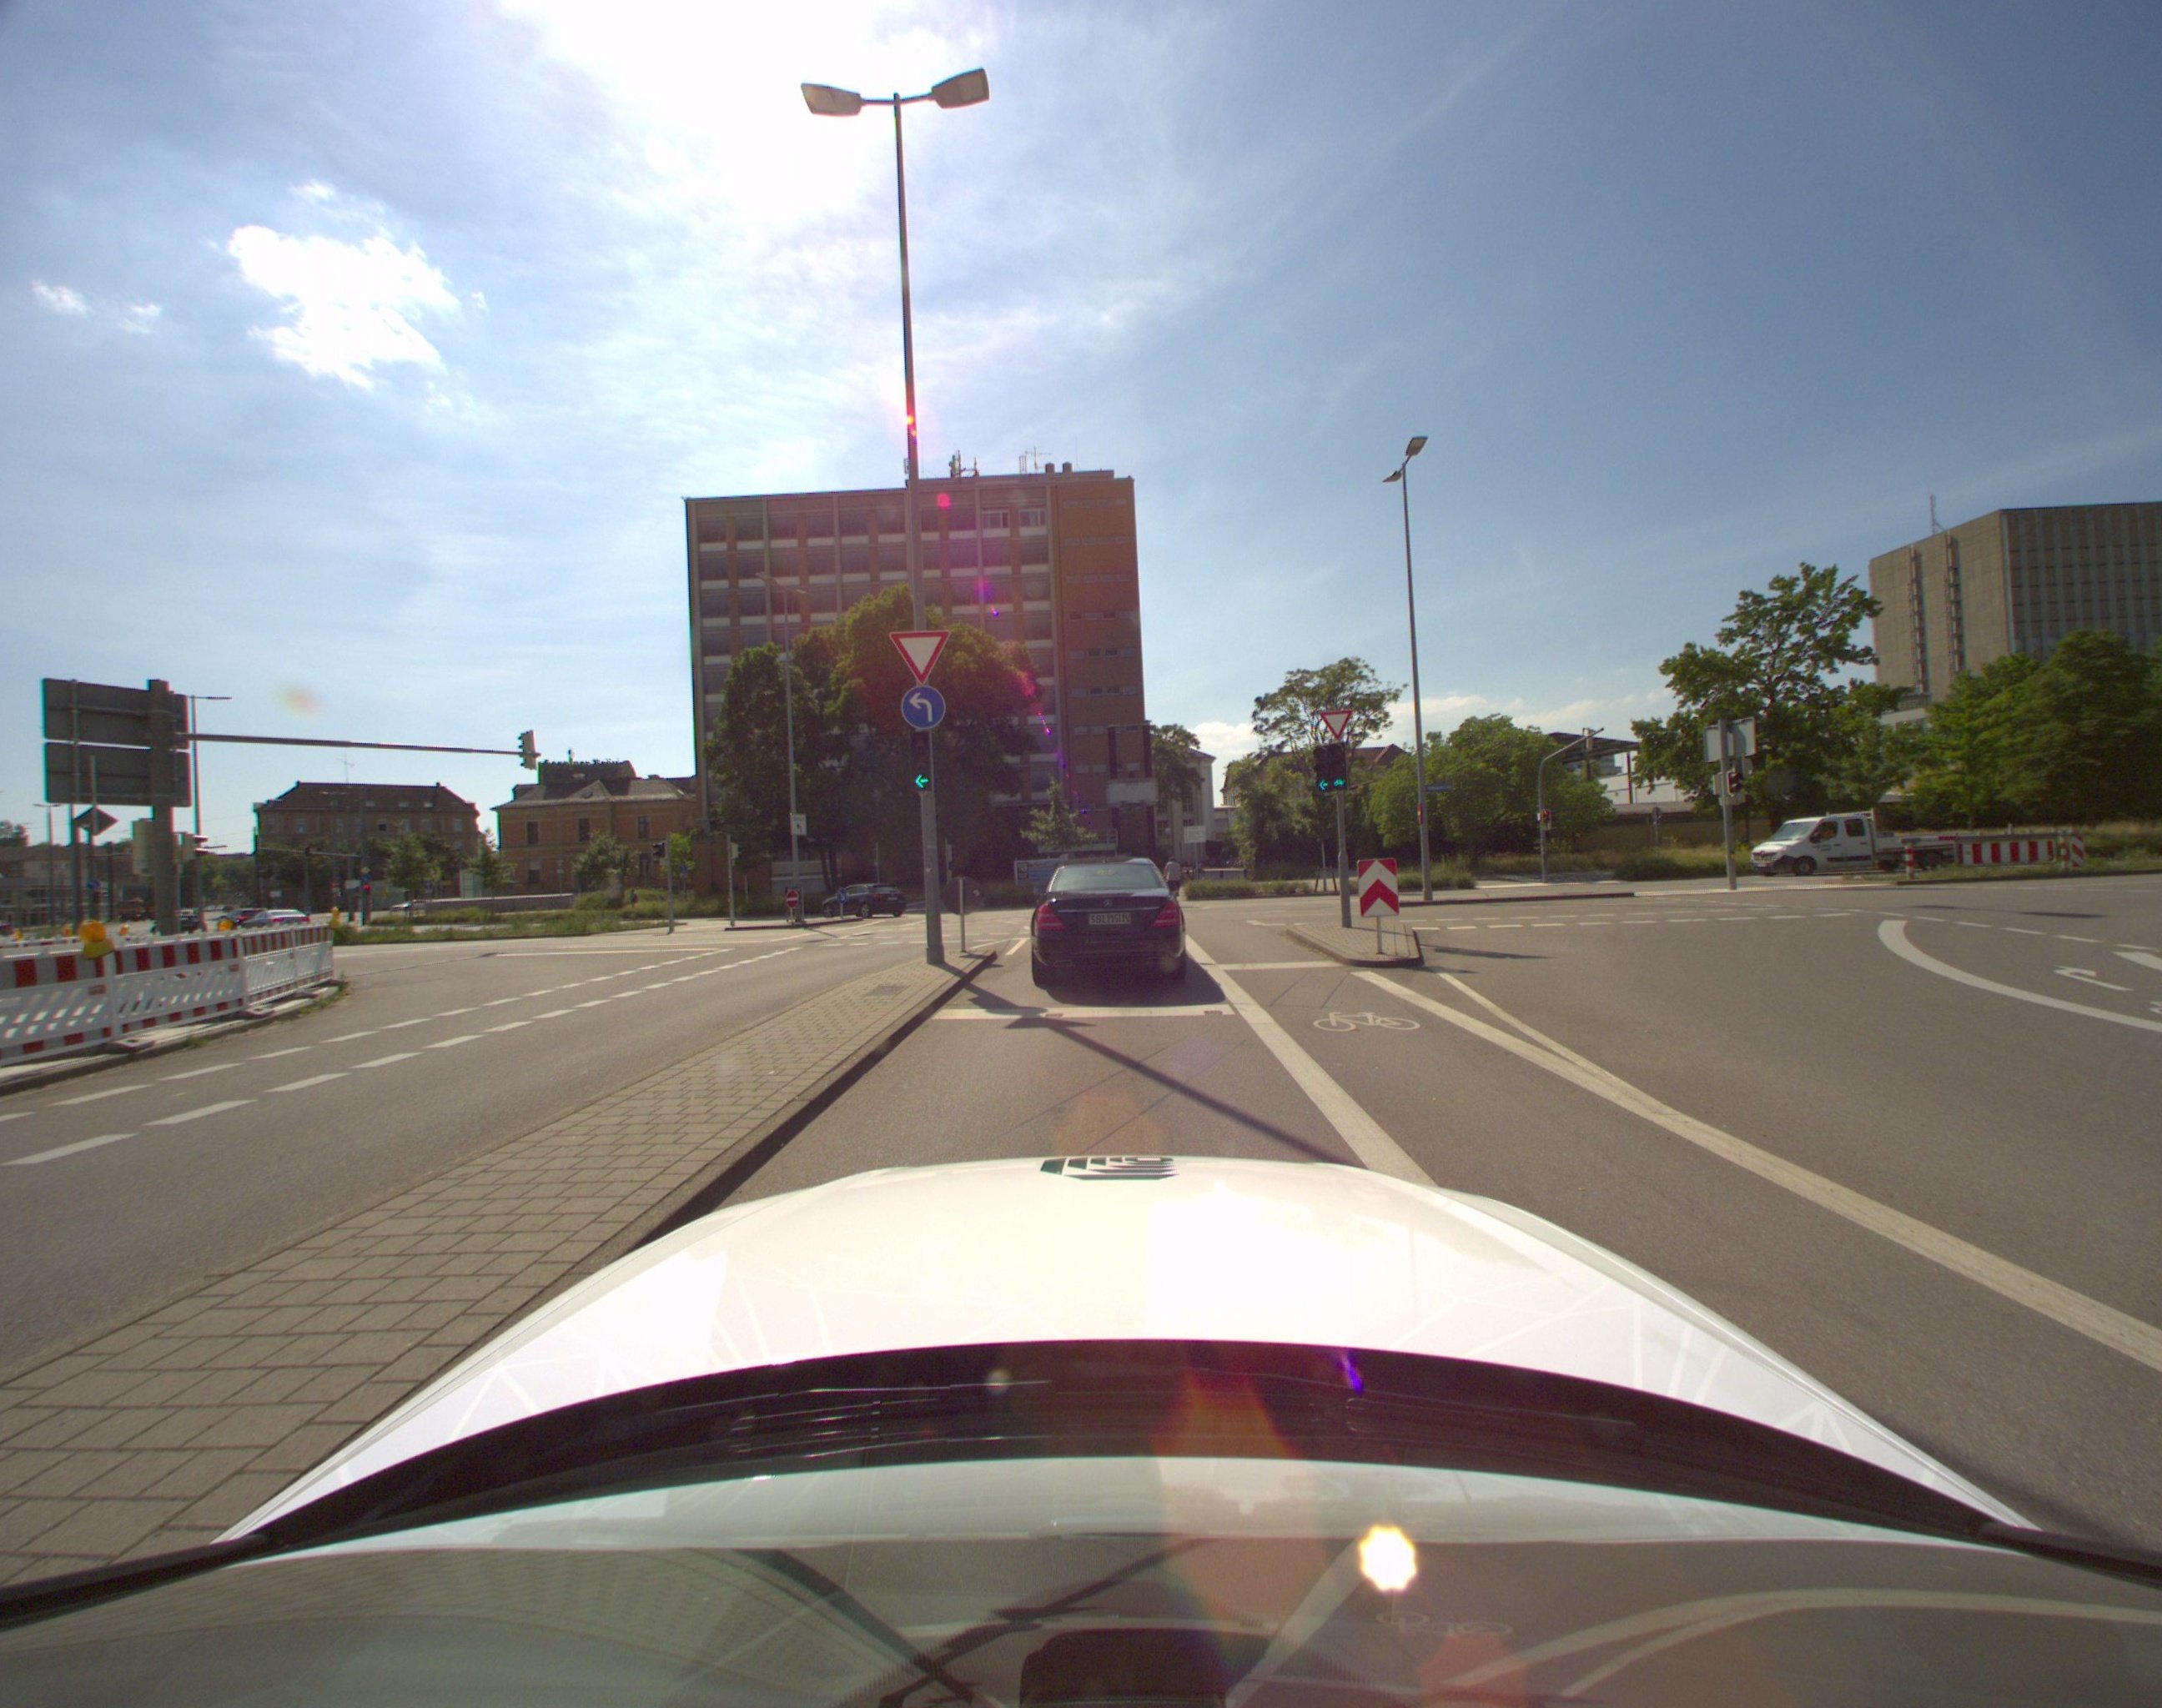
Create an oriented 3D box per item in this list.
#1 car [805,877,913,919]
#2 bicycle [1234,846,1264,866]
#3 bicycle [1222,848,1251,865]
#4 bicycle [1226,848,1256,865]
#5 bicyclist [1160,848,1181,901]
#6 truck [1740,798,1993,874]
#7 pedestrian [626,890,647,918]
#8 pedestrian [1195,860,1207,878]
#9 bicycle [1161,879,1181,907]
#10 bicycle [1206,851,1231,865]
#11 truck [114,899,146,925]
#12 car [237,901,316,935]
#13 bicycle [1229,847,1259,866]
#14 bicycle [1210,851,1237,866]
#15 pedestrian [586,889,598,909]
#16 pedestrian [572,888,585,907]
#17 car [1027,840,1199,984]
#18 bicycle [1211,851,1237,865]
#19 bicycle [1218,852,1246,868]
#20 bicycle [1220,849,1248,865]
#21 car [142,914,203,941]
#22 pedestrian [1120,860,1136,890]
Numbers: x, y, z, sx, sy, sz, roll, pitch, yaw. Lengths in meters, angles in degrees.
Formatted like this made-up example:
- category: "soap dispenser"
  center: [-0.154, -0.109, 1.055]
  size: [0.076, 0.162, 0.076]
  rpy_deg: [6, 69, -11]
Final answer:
- category: "car"
  center: [-9.103, 1.814, 33.449]
  size: [3.951, 1.510, 1.810]
  rpy_deg: [-4, -2, 23]
- category: "bicycle"
  center: [16.765, 0.218, 81.367]
  size: [2.813, 1.836, 0.842]
  rpy_deg: [-3, -1, 1]
- category: "bicycle"
  center: [16.480, 0.284, 86.168]
  size: [2.813, 1.659, 0.842]
  rpy_deg: [-3, 1, 1]
- category: "bicycle"
  center: [16.627, 0.257, 84.720]
  size: [2.813, 1.649, 0.842]
  rpy_deg: [-3, -1, 1]
- category: "bicyclist"
  center: [3.287, 0.746, 30.008]
  size: [0.682, 1.878, 0.861]
  rpy_deg: [-1, -1, 5]
- category: "truck"
  center: [29.624, -0.635, 30.944]
  size: [6.997, 2.356, 2.414]
  rpy_deg: [-3, -2, 2]
- category: "pedestrian"
  center: [-29.247, 3.297, 53.580]
  size: [0.790, 1.725, 0.878]
  rpy_deg: [-4, -2, 24]
- category: "pedestrian"
  center: [7.926, 0.984, 53.895]
  size: [0.788, 1.214, 0.759]
  rpy_deg: [-1, -1, 8]
- category: "bicycle"
  center: [3.297, 1.401, 29.908]
  size: [0.689, 0.946, 1.961]
  rpy_deg: [-1, -1, 5]
- category: "bicycle"
  center: [16.261, 0.456, 96.304]
  size: [2.813, 1.480, 0.842]
  rpy_deg: [-3, -1, 1]
- category: "truck"
  center: [-148.594, 9.128, 127.345]
  size: [7.827, 3.730, 3.093]
  rpy_deg: [-4, -2, 41]
- category: "car"
  center: [-48.156, 3.822, 48.728]
  size: [3.951, 1.816, 2.011]
  rpy_deg: [-3, -1, 24]
- category: "bicycle"
  center: [16.708, 0.268, 83.629]
  size: [2.813, 1.744, 0.842]
  rpy_deg: [-3, -1, 1]
- category: "bicycle"
  center: [16.170, 0.509, 92.222]
  size: [2.813, 1.559, 0.842]
  rpy_deg: [-3, -1, 1]
- category: "pedestrian"
  center: [-41.396, 3.767, 68.954]
  size: [0.642, 1.661, 0.654]
  rpy_deg: [-1, -1, 28]
- category: "pedestrian"
  center: [-44.217, 3.839, 71.676]
  size: [0.644, 1.661, 0.652]
  rpy_deg: [-3, -2, 9]
- category: "car"
  center: [0.326, 0.657, 11.215]
  size: [1.853, 1.530, 4.711]
  rpy_deg: [-1, -1, -1]
- category: "bicycle"
  center: [16.575, 0.448, 94.400]
  size: [2.813, 1.500, 0.842]
  rpy_deg: [-3, -1, 1]
- category: "bicycle"
  center: [16.323, 0.665, 88.243]
  size: [2.813, 1.537, 0.842]
  rpy_deg: [-3, -1, 1]
- category: "bicycle"
  center: [16.400, 0.317, 87.164]
  size: [2.813, 1.587, 0.842]
  rpy_deg: [-3, -1, 1]
- category: "car"
  center: [-56.041, 4.524, 50.215]
  size: [3.948, 1.510, 1.811]
  rpy_deg: [-4, -1, 32]
- category: "pedestrian"
  center: [2.529, 1.126, 43.888]
  size: [0.807, 1.579, 0.693]
  rpy_deg: [-3, -1, 3]
